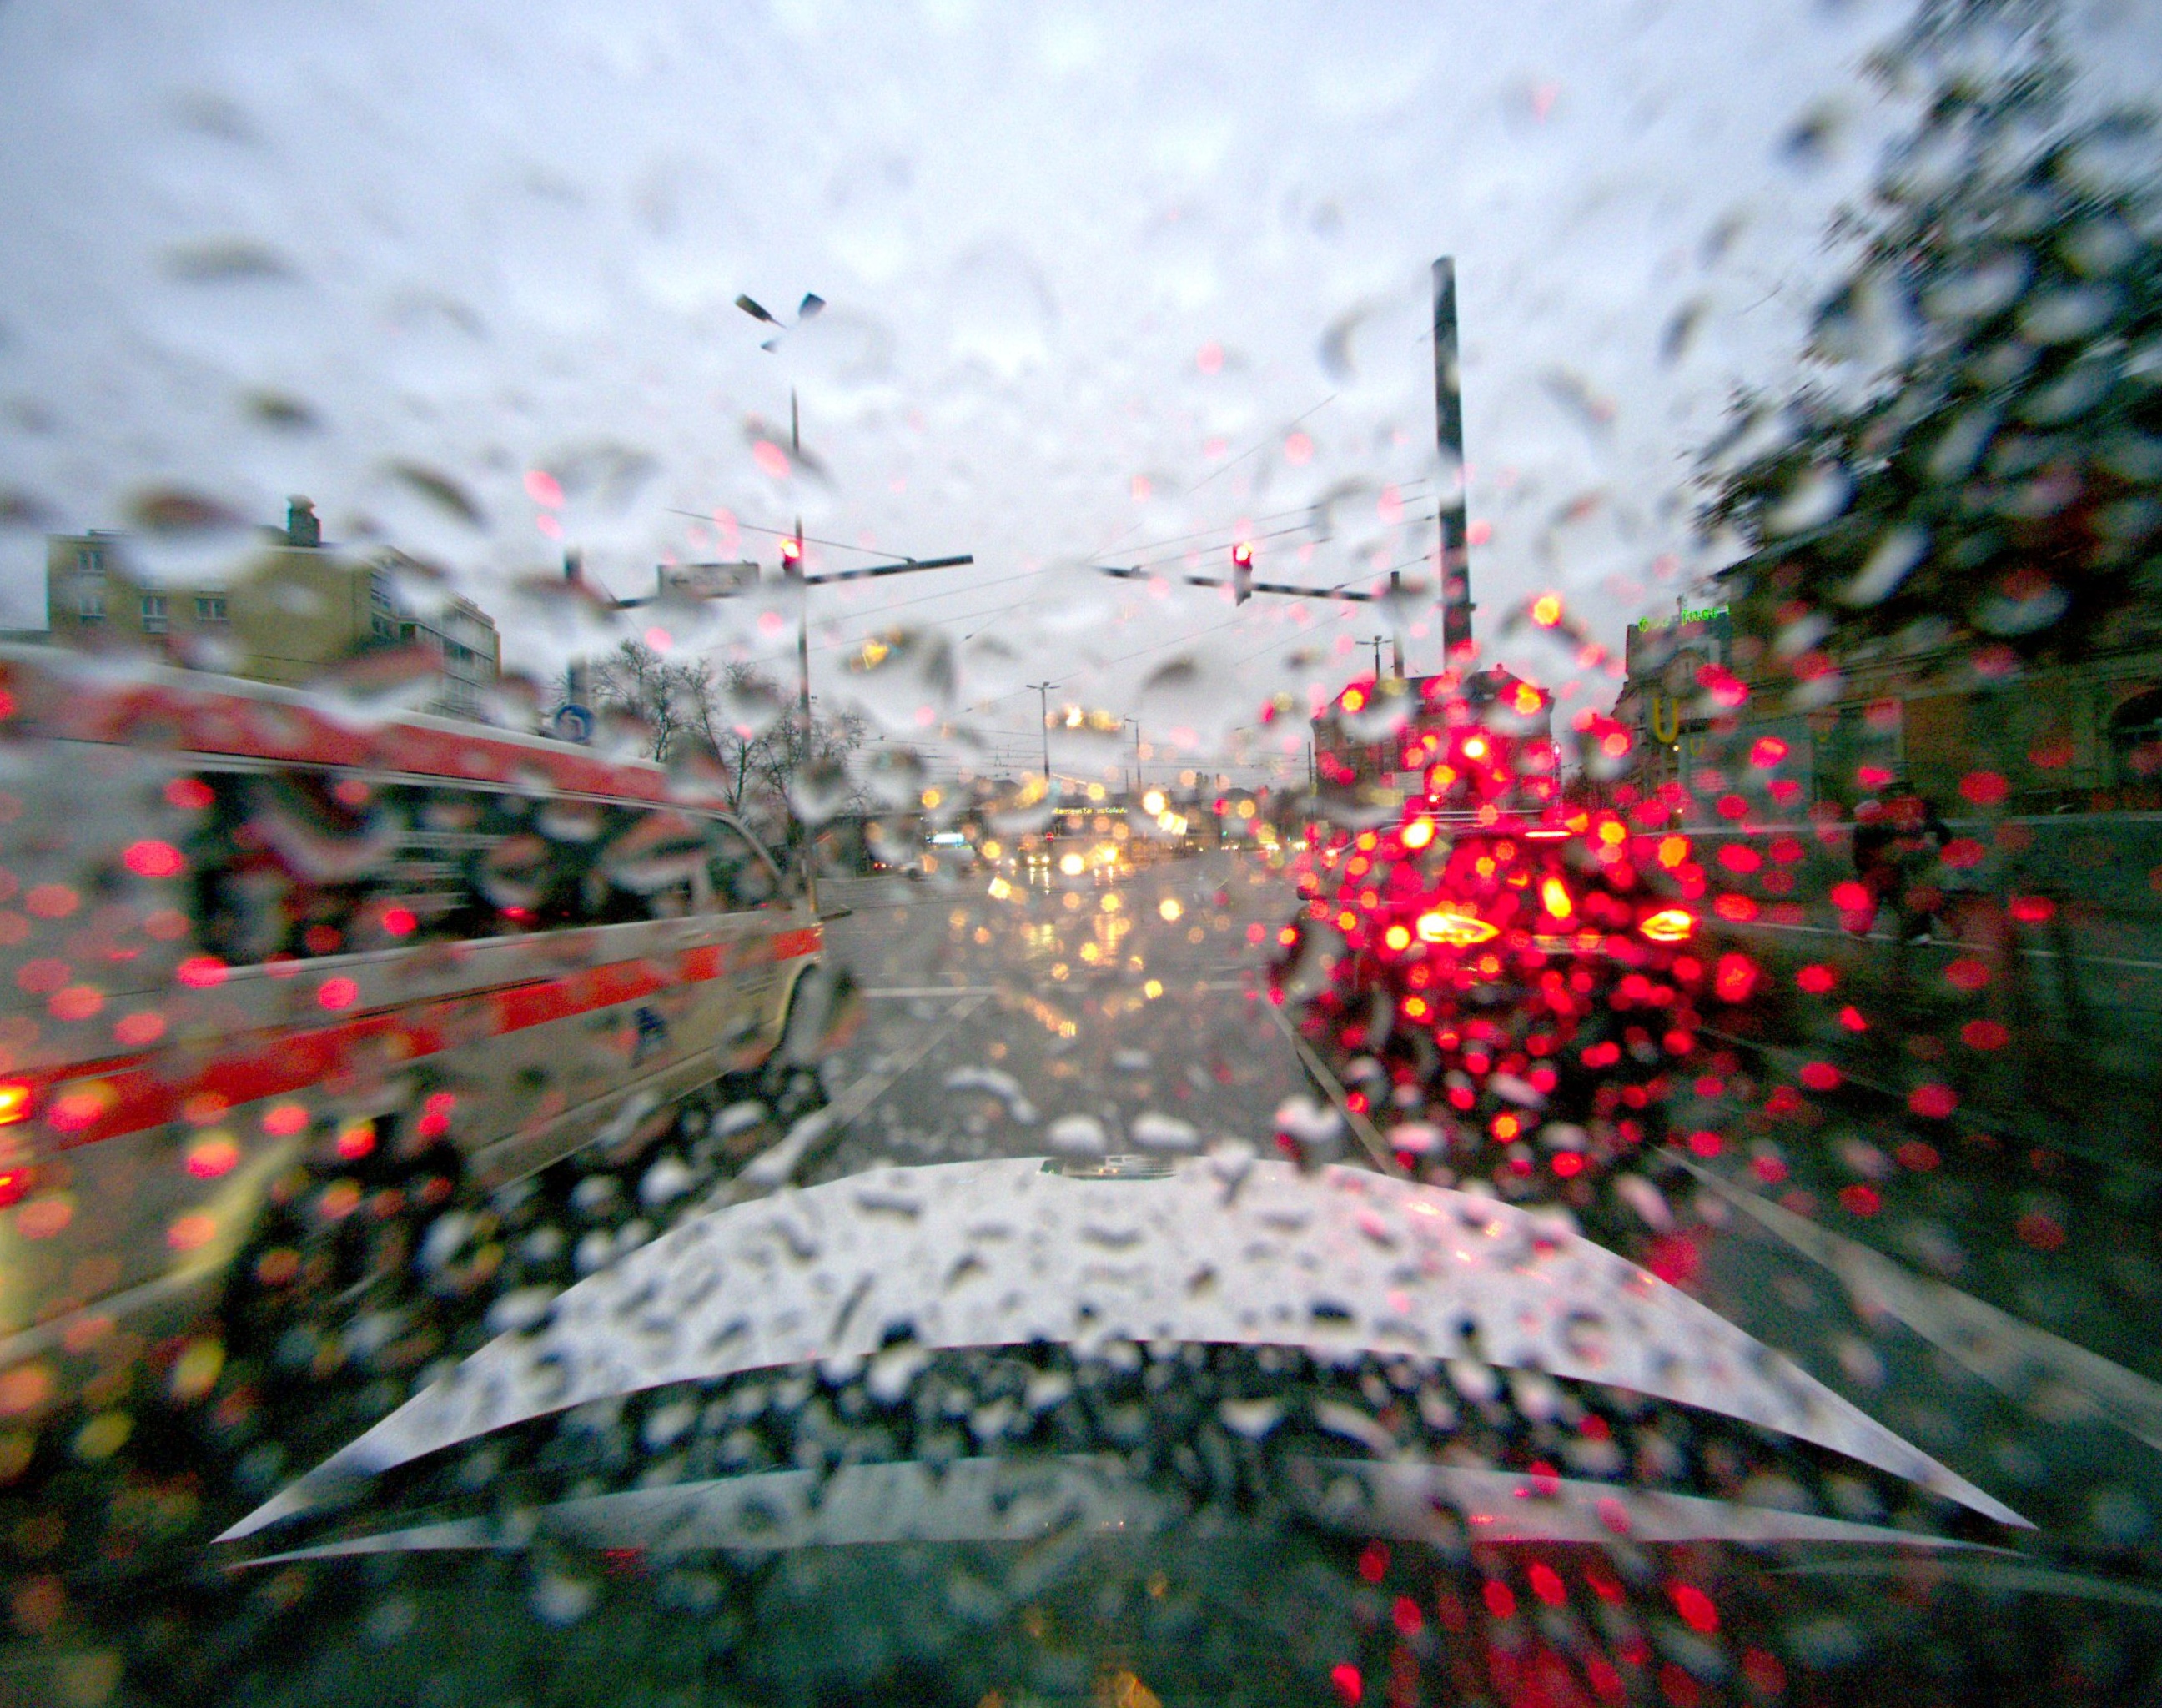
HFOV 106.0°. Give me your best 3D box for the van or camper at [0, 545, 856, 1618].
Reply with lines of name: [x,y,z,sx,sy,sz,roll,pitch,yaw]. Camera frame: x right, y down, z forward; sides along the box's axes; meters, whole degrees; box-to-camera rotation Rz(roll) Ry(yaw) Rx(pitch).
van or camper: [-3.069,0.452,4.085,2.192,2.109,4.992,-1,0,3]

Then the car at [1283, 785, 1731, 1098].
car: [3.016,0.491,6.955,1.770,1.800,4.430,-1,1,4]

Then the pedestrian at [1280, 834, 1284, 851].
pedestrian: [24.144,-1.394,97.992,0.341,2.013,0.420,-3,0,18]

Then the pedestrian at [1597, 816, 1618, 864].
pedestrian: [21.981,-0.581,34.014,0.669,1.950,0.666,-2,0,31]

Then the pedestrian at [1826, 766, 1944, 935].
pedestrian: [9.637,-0.050,9.806,0.800,1.929,0.765,0,3,27]

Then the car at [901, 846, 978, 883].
car: [-8.734,0.641,50.044,4.414,2.013,1.900,-2,0,-17]

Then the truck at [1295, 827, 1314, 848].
truck: [30.423,-2.251,110.906,1.977,2.691,5.141,-3,0,20]

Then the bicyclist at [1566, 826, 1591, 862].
bicyclist: [22.490,-0.464,36.848,0.770,1.575,0.699,-2,0,20]

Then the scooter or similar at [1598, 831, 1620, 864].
scooter or similar: [21.608,-0.280,33.362,0.669,1.317,0.832,-2,0,31]

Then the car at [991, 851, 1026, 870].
car: [-6.045,0.511,68.504,1.801,1.446,4.013,-3,0,11]

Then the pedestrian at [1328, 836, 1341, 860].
pedestrian: [21.902,-0.488,70.364,0.732,2.013,0.782,-2,0,-27]

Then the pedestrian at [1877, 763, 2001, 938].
pedestrian: [10.331,-0.052,9.846,0.800,2.013,0.765,0,3,27]

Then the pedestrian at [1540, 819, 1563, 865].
pedestrian: [20.111,-0.519,34.798,0.669,1.950,0.681,-3,0,38]

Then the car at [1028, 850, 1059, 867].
car: [-3.437,0.396,75.101,1.801,1.446,4.013,-3,0,11]

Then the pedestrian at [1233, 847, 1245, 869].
pedestrian: [13.222,0.323,68.089,0.595,1.840,0.612,-3,0,-32]

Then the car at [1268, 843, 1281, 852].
car: [35.980,-1.144,151.426,1.846,1.601,3.806,-2,0,20]

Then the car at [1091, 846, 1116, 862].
car: [2.307,-0.010,81.977,1.801,1.446,4.013,-3,0,11]

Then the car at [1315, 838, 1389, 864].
car: [19.675,-0.208,59.310,4.778,1.657,1.742,-2,0,3]

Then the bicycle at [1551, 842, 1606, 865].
bicycle: [22.496,-0.017,36.874,1.991,0.980,0.699,-2,0,20]

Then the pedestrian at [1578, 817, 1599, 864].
pedestrian: [21.462,-0.585,34.438,0.669,1.950,0.666,-2,0,31]
